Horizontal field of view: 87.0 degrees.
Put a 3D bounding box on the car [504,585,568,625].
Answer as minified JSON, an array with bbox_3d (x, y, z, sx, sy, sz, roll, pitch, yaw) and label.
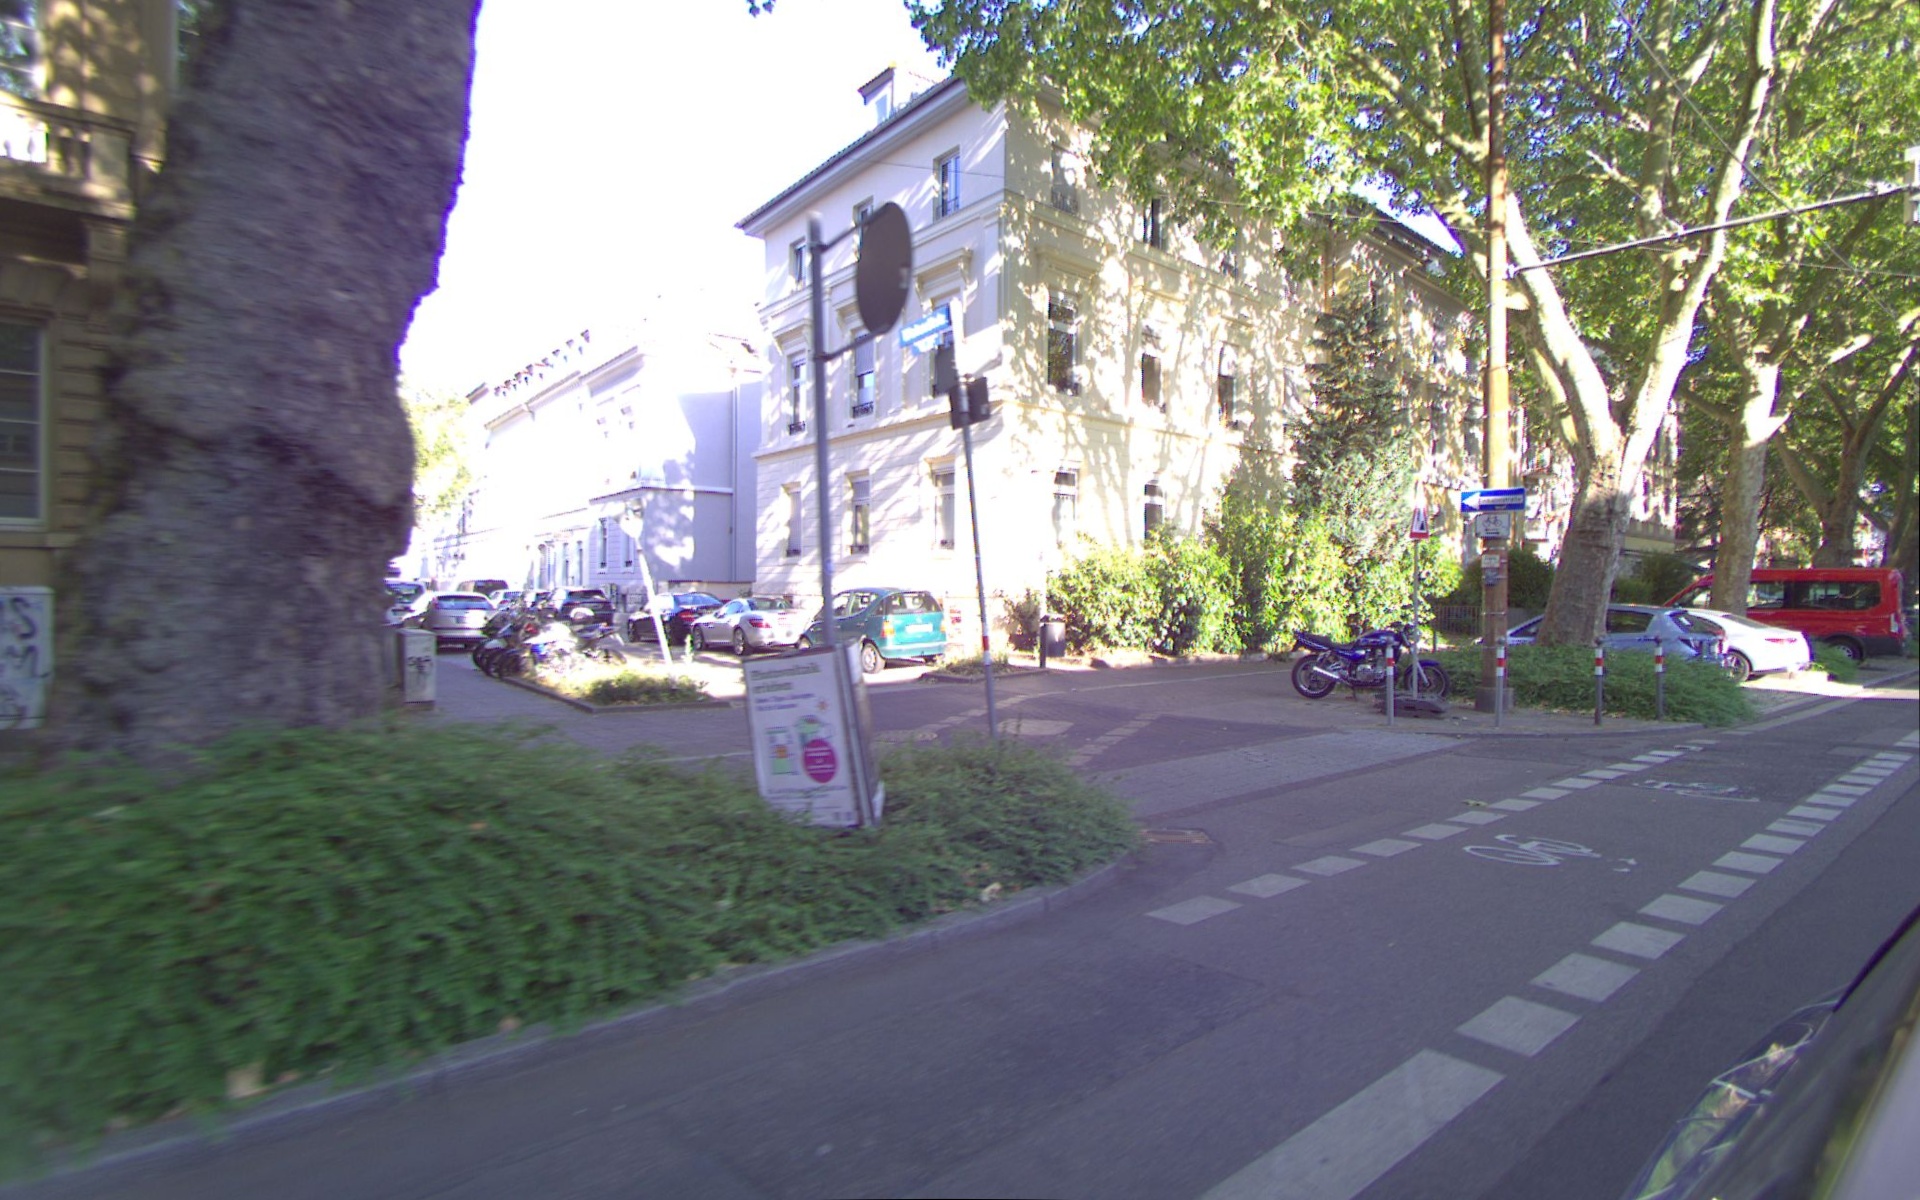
[{"bbox_3d":[-16.836,0.176,40.098,1.600,1.449,3.709,-2,2,-35],"label":"car"}]

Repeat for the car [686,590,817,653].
[{"bbox_3d":[-5.049,0.465,24.184,1.601,1.341,3.665,-2,2,-38],"label":"car"}]

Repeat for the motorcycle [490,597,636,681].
[{"bbox_3d":[-6.407,0.631,16.404,2.137,1.313,0.497,1,-1,-22],"label":"motorcycle"}]

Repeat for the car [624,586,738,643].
[{"bbox_3d":[-7.824,0.352,28.166,1.627,1.431,4.084,-2,2,-37],"label":"car"}]

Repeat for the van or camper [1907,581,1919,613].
[{"bbox_3d":[78.311,-0.196,79.146,2.071,2.522,6.041,0,1,-42],"label":"van or camper"}]

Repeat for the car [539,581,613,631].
[{"bbox_3d":[-13.716,0.180,36.044,1.600,1.670,3.709,-2,2,-35],"label":"car"}]

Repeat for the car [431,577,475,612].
[{"bbox_3d":[-27.855,-0.324,55.521,1.600,1.846,3.709,-2,2,-35],"label":"car"}]

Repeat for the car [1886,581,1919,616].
[{"bbox_3d":[65.102,-0.058,66.583,1.970,2.311,6.004,1,0,-40],"label":"car"}]

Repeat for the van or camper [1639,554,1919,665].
[{"bbox_3d":[21.558,0.146,26.533,2.249,2.550,5.823,1,2,-43],"label":"van or camper"}]

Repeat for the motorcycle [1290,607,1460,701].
[{"bbox_3d":[5.751,0.735,14.123,2.145,1.243,0.471,-1,-1,22],"label":"motorcycle"}]

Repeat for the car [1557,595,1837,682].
[{"bbox_3d":[14.880,0.700,20.644,1.728,1.434,4.296,1,2,-39],"label":"car"}]

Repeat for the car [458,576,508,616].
[{"bbox_3d":[-23.391,-0.191,49.552,1.600,1.846,3.709,-2,2,-35],"label":"car"}]

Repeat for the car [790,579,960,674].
[{"bbox_3d":[-1.741,0.428,19.922,1.602,1.608,3.479,-4,4,-39],"label":"car"}]

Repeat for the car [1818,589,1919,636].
[{"bbox_3d":[38.652,0.505,42.110,1.818,1.740,4.268,0,3,-43],"label":"car"}]

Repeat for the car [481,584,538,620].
[{"bbox_3d":[-19.790,0.059,44.359,1.600,1.449,3.709,-2,2,-35],"label":"car"}]

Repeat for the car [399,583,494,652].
[{"bbox_3d":[-12.913,0.387,25.343,1.600,1.570,3.482,-2,2,-35],"label":"car"}]

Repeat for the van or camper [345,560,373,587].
[{"bbox_3d":[-52.425,-2.283,88.235,1.600,2.304,4.789,-2,2,-35],"label":"van or camper"}]

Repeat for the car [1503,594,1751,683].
[{"bbox_3d":[12.797,0.661,19.545,3.752,1.404,1.655,3,2,44],"label":"car"}]

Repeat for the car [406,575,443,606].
[{"bbox_3d":[-33.680,-0.591,63.599,1.600,1.846,3.709,-2,2,-35],"label":"car"}]

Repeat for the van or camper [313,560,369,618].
[{"bbox_3d":[-29.180,-0.531,47.652,1.846,2.550,4.431,-2,2,-36],"label":"van or camper"}]

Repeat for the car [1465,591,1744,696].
[{"bbox_3d":[11.043,0.652,17.530,1.652,1.527,3.758,0,2,-41],"label":"car"}]

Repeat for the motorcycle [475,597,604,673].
[{"bbox_3d":[-7.586,0.611,18.320,2.137,1.313,0.497,0,-1,-22],"label":"motorcycle"}]

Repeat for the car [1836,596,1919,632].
[{"bbox_3d":[42.439,0.632,45.921,4.027,1.498,1.655,2,1,44],"label":"car"}]

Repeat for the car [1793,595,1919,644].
[{"bbox_3d":[31.994,0.669,35.851,1.664,1.536,3.602,0,2,-41],"label":"car"}]

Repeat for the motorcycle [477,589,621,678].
[{"bbox_3d":[-7.023,0.563,17.357,2.239,1.449,0.570,1,-1,-26],"label":"motorcycle"}]

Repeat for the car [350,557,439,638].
[{"bbox_3d":[-18.123,-0.110,32.318,1.921,2.378,4.372,-2,2,-36],"label":"car"}]

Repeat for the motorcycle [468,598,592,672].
[{"bbox_3d":[-8.207,0.645,19.370,2.137,1.313,0.497,-2,0,-22],"label":"motorcycle"}]
